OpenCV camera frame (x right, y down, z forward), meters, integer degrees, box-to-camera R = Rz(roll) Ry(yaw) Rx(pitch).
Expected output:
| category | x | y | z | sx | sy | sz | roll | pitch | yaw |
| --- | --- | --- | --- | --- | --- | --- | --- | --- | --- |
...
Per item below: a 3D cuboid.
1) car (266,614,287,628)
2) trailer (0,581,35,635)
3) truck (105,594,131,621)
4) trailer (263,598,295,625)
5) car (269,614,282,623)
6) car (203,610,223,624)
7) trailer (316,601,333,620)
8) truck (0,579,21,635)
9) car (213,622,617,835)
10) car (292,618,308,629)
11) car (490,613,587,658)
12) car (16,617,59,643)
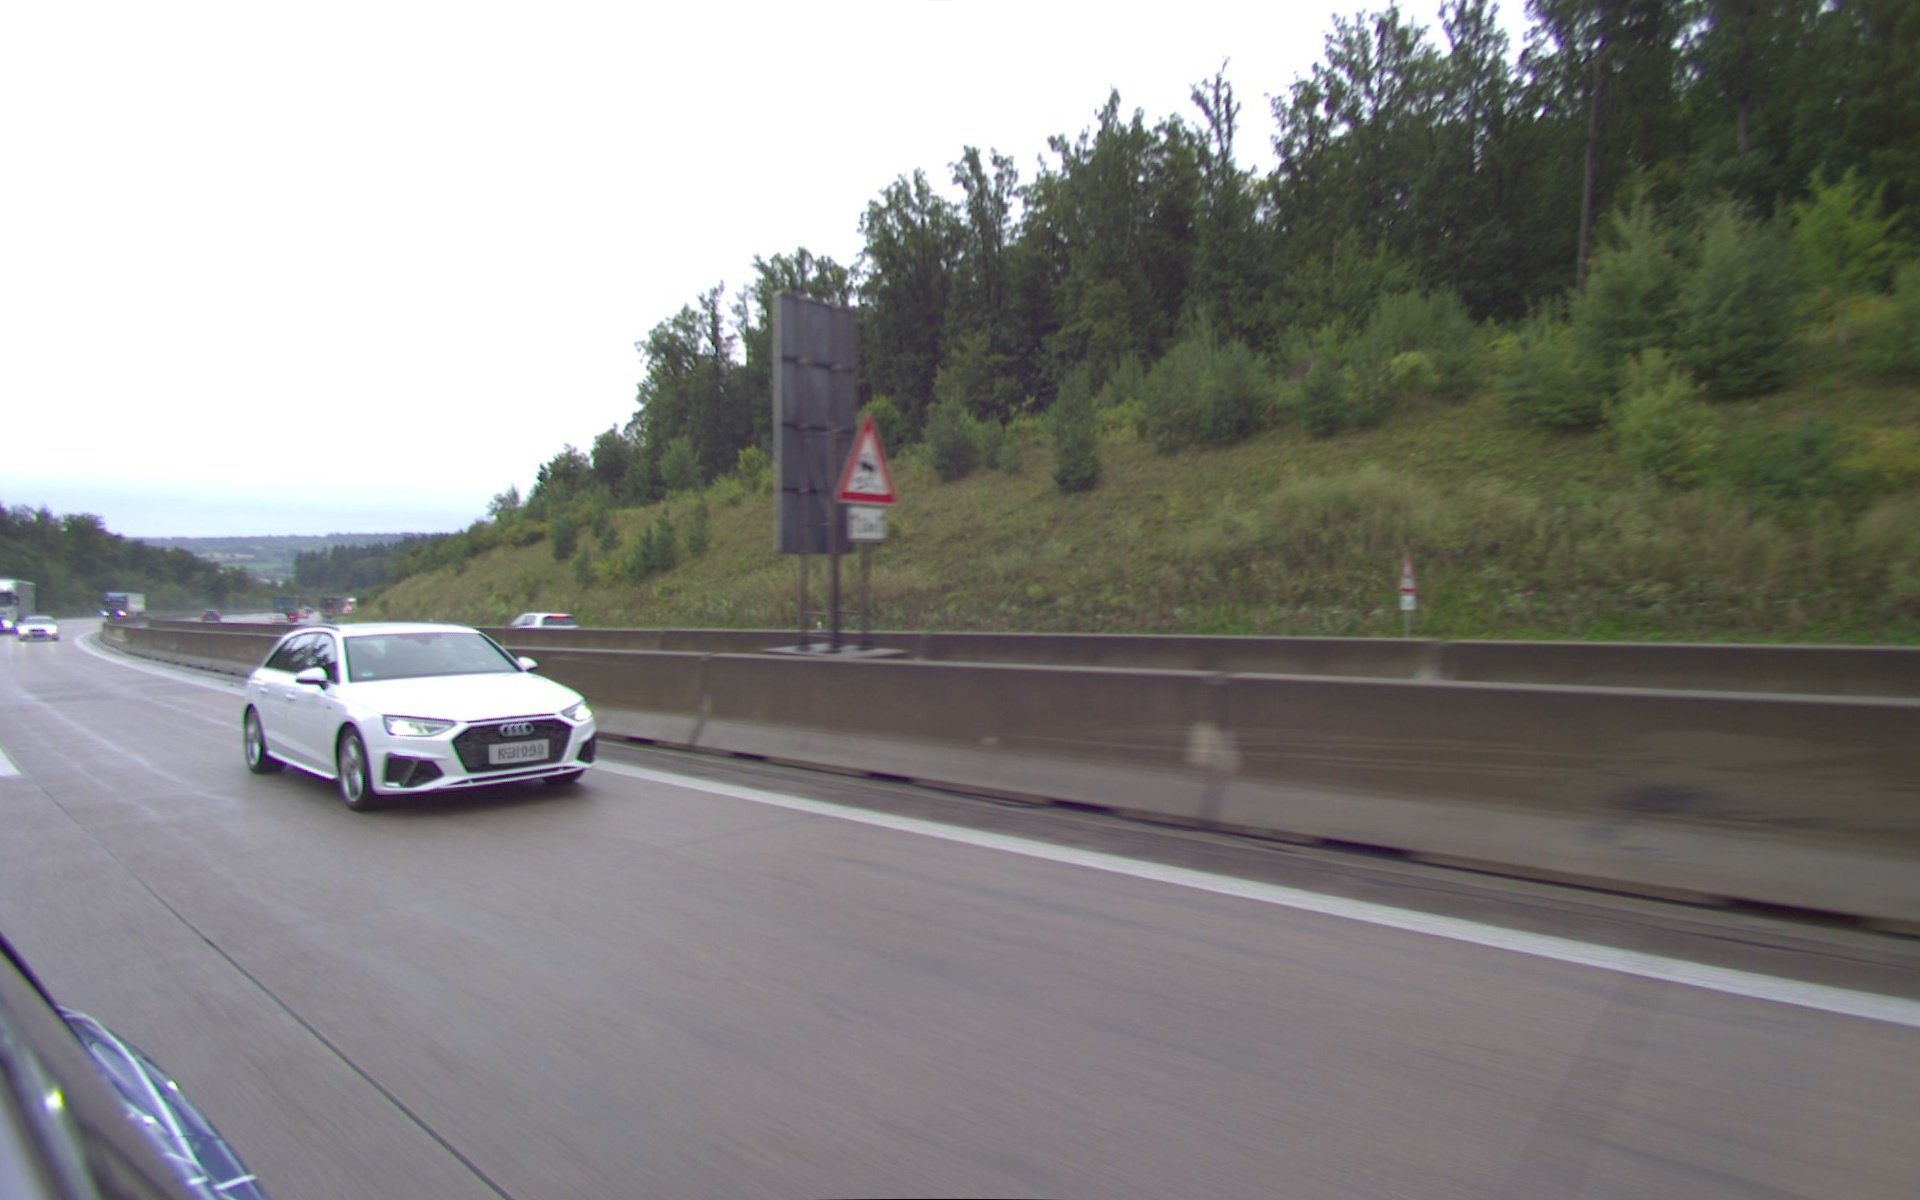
| category | x | y | z | sx | sy | sz | roll | pitch | yaw |
| --- | --- | --- | --- | --- | --- | --- | --- | --- | --- |
| car | -81.235 | 2.492 | 120.247 | 1.709 | 1.588 | 4.252 | 1 | -1 | -39 |
| trailer | -77.287 | 0.755 | 81.697 | 2.645 | 4.071 | 13.733 | -2 | 0 | -38 |
| truck | -133.505 | 1.209 | 160.576 | 2.695 | 4.183 | 8.640 | 0 | -1 | -36 |
| trailer | -99.774 | 1.684 | 148.181 | 2.870 | 3.918 | 11.055 | 0 | -1 | -40 |
| car | -127.934 | 3.437 | 189.156 | 1.707 | 1.790 | 4.772 | 1 | -1 | -32 |
| car | -96.914 | 2.218 | 131.219 | 1.709 | 1.790 | 4.765 | 1 | -1 | -41 |
| trailer | -136.439 | 2.268 | 217.512 | 2.886 | 3.990 | 13.503 | 1 | -1 | -31 |
| truck | -72.840 | 0.601 | 75.996 | 2.686 | 4.071 | 5.765 | -2 | 0 | -37 |
| car | -5.129 | 0.914 | 9.143 | 4.935 | 1.418 | 1.694 | -1 | -1 | 42 |
| car | -122.361 | 4.331 | 187.573 | 2.075 | 2.029 | 4.008 | 0 | -1 | -38 |
| car | -15.300 | 1.243 | 36.655 | 4.000 | 1.529 | 1.757 | -1 | -1 | 43 |
| car | -54.510 | 1.742 | 59.771 | 1.823 | 1.494 | 4.453 | 0 | -1 | -43 |
